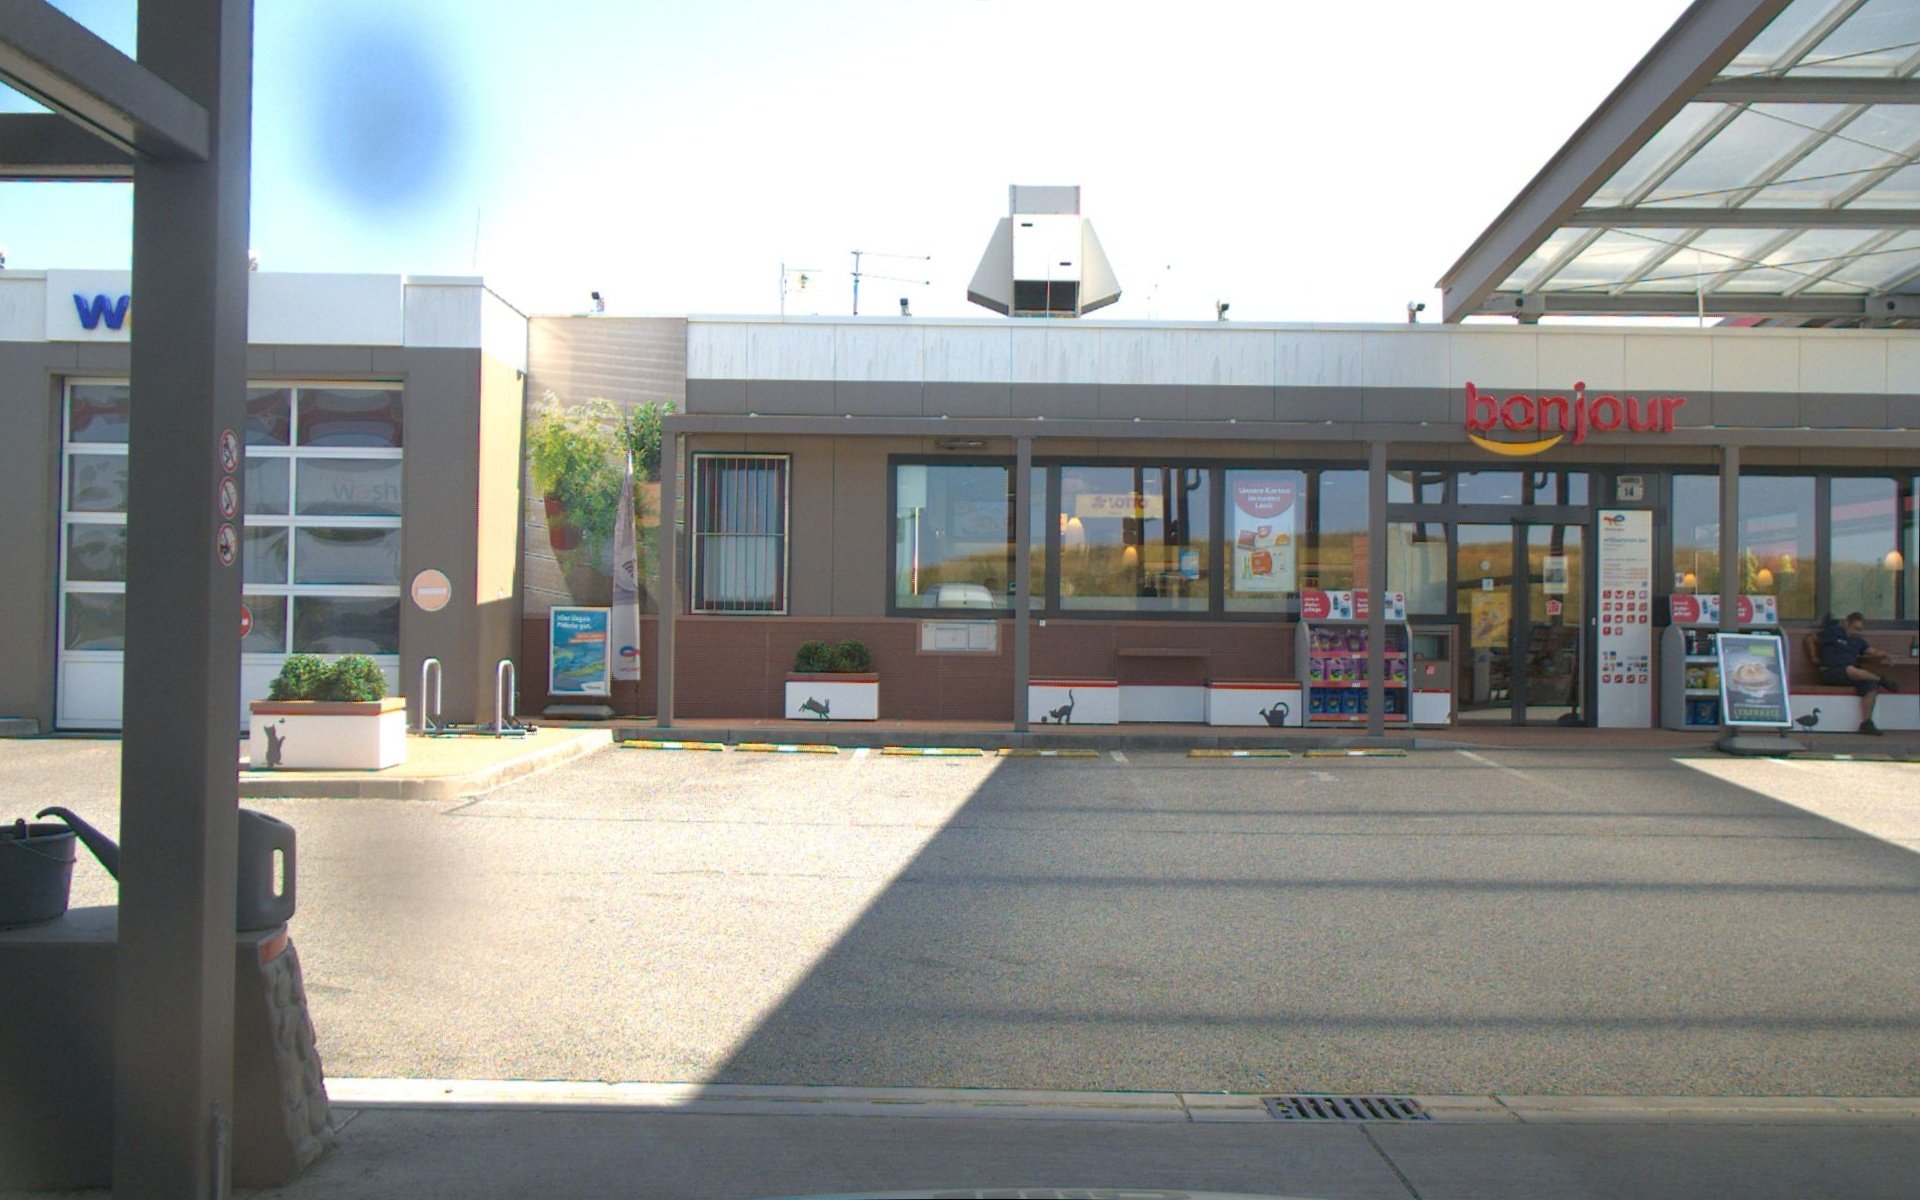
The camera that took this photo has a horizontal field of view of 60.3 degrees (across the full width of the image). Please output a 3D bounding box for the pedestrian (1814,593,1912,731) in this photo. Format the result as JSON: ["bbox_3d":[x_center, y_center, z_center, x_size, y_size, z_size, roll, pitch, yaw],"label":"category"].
[{"bbox_3d":[9.739,0.661,17.852,0.687,1.457,0.672,0,0,-1],"label":"pedestrian"}]
